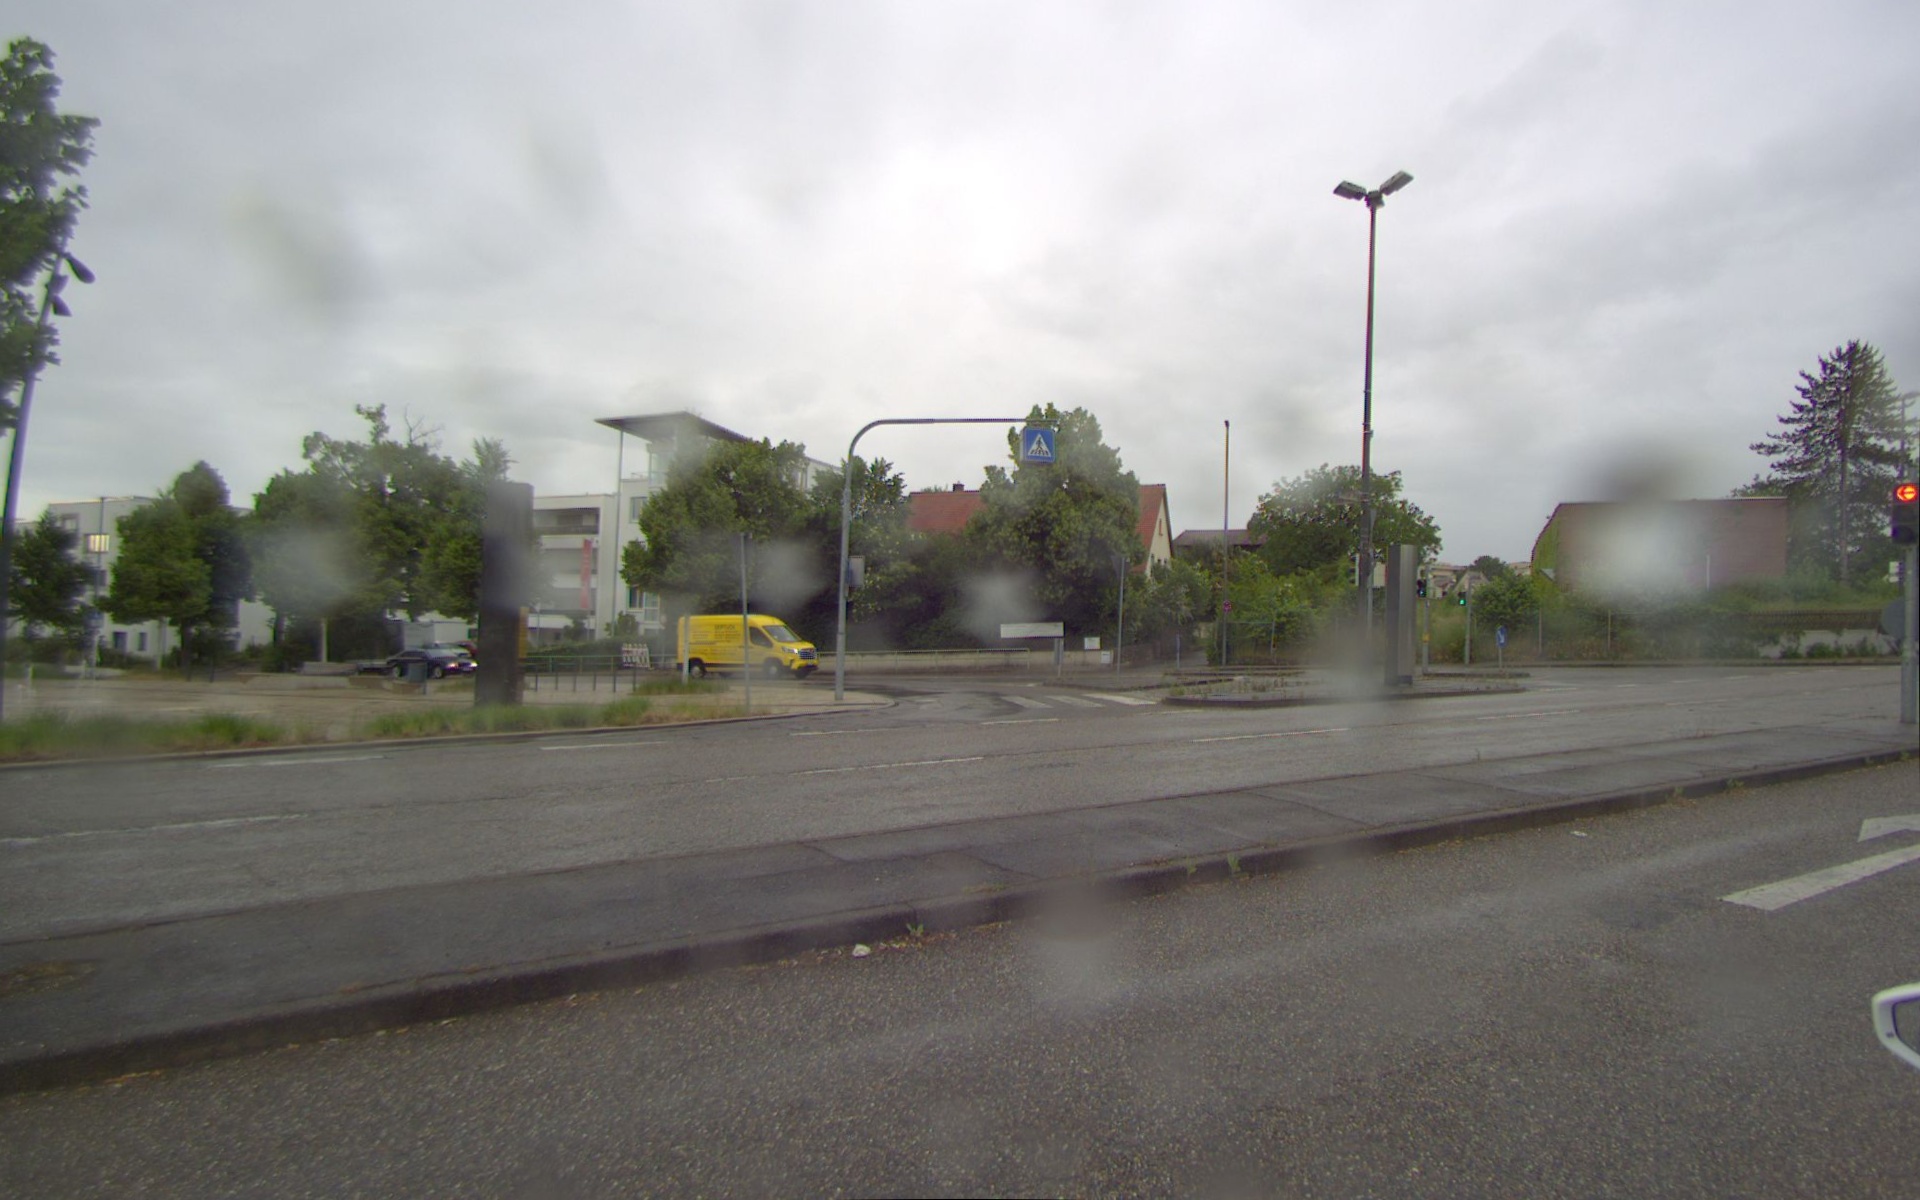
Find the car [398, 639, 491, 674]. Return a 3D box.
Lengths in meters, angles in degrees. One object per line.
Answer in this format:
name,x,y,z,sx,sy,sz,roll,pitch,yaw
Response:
car,-24.046,2.647,46.844,3.929,1.559,1.997,-2,-3,29

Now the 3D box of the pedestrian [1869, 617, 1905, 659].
pedestrian,35.166,1.457,38.121,0.816,1.588,0.756,1,-3,-31

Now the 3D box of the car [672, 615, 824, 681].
car,-8.314,1.898,39.281,5.805,2.441,1.999,-2,-3,25
